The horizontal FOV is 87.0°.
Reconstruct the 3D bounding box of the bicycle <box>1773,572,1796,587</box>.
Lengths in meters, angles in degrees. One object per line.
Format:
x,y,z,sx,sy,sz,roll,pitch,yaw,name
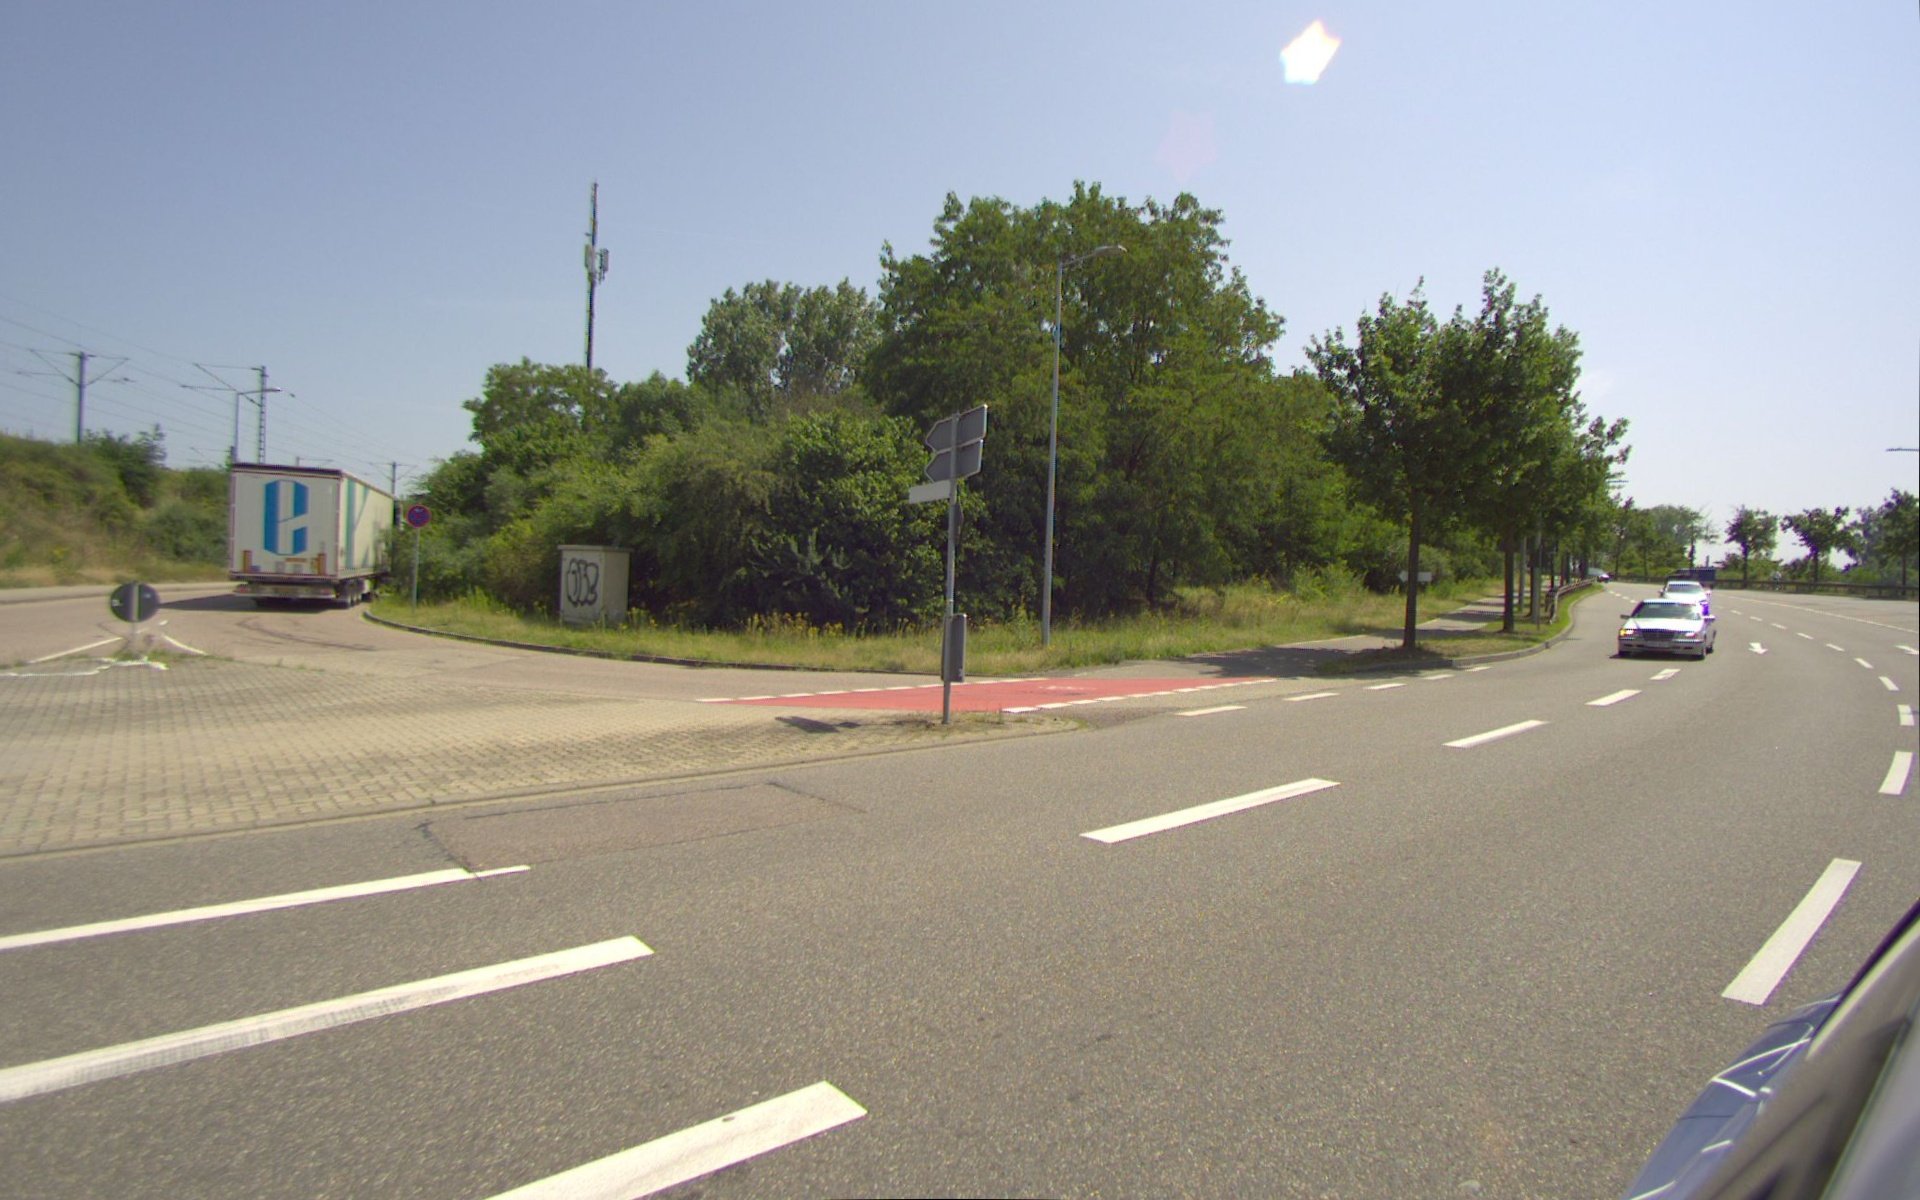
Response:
67.684,-1.666,83.126,0.727,1.129,2.034,5,5,19,bicycle

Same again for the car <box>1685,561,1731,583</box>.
61.375,-2.277,83.124,1.898,1.673,4.376,1,1,21,car

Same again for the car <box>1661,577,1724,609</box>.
33.405,-0.338,46.242,1.985,1.386,4.185,1,1,32,car

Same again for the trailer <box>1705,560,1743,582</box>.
59.994,-2.272,79.543,1.491,1.635,3.285,1,0,21,trailer

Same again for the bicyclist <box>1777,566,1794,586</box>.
67.678,-1.972,82.994,0.723,1.483,0.819,5,4,19,bicyclist

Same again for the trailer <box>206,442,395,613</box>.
-21.428,-2.173,33.913,3.024,4.422,14.805,2,1,-25,trailer

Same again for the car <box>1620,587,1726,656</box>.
17.832,0.473,25.224,1.757,1.517,4.171,1,2,41,car

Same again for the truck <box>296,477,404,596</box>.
-25.126,-2.547,41.968,3.022,4.422,6.091,2,1,-25,truck
